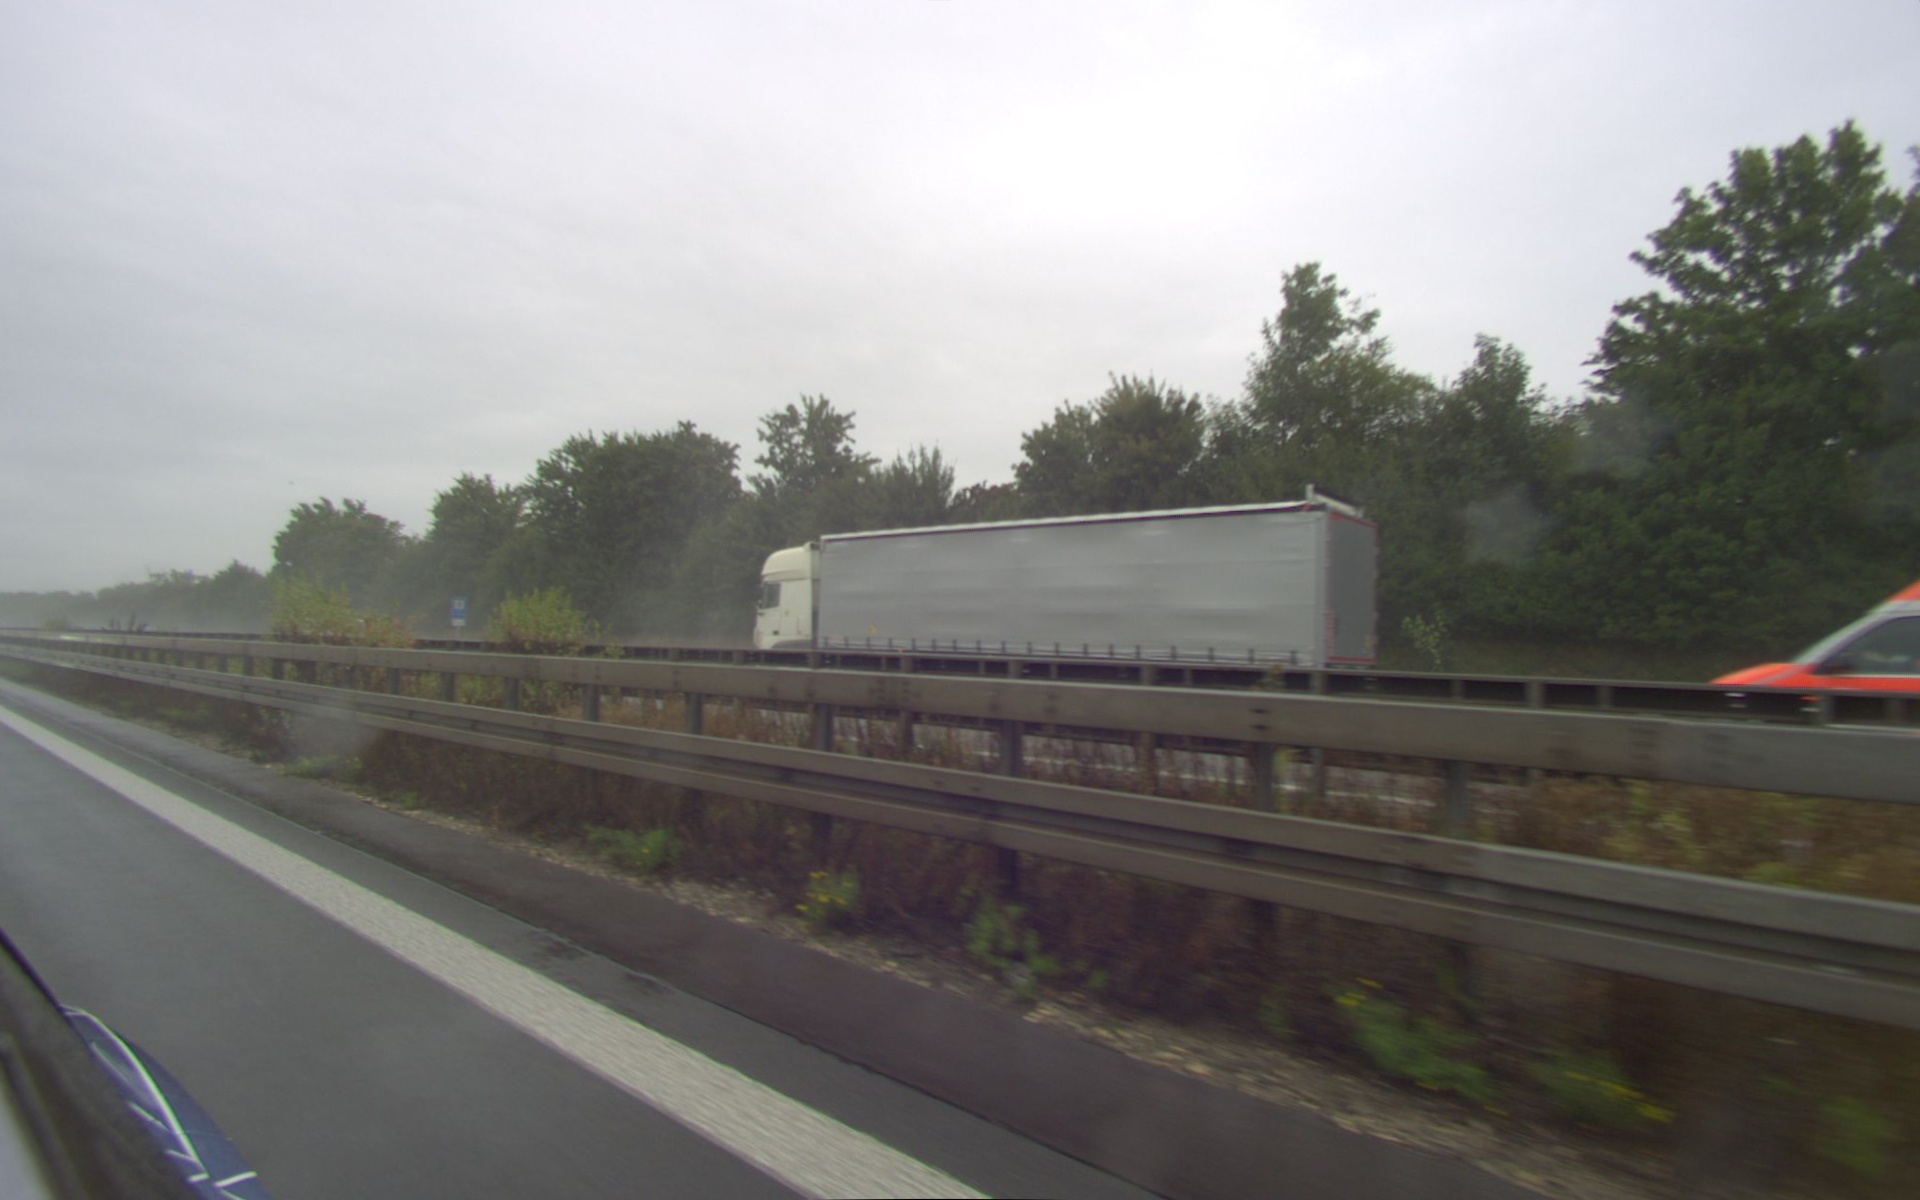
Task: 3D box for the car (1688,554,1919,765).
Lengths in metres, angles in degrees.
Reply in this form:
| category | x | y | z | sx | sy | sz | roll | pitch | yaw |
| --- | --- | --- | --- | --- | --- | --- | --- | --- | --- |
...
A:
| category | x | y | z | sx | sy | sz | roll | pitch | yaw |
| --- | --- | --- | --- | --- | --- | --- | --- | --- | --- |
| car | 10.321 | 0.543 | 9.901 | 5.011 | 2.000 | 1.973 | -2 | -1 | 40 |

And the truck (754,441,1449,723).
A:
| category | x | y | z | sx | sy | sz | roll | pitch | yaw |
| --- | --- | --- | --- | --- | --- | --- | --- | --- | --- |
| truck | 1.764 | -0.064 | 23.575 | 17.087 | 4.710 | 2.935 | -2 | -1 | 41 |

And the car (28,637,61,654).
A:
| category | x | y | z | sx | sy | sz | roll | pitch | yaw |
| --- | --- | --- | --- | --- | --- | --- | --- | --- | --- |
| car | -87.010 | 4.316 | 96.185 | 4.758 | 1.579 | 1.715 | -2 | -1 | 41 |

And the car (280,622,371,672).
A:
| category | x | y | z | sx | sy | sz | roll | pitch | yaw |
| --- | --- | --- | --- | --- | --- | --- | --- | --- | --- |
| car | -28.163 | 2.051 | 44.817 | 5.398 | 2.029 | 1.909 | -2 | -1 | 41 |
